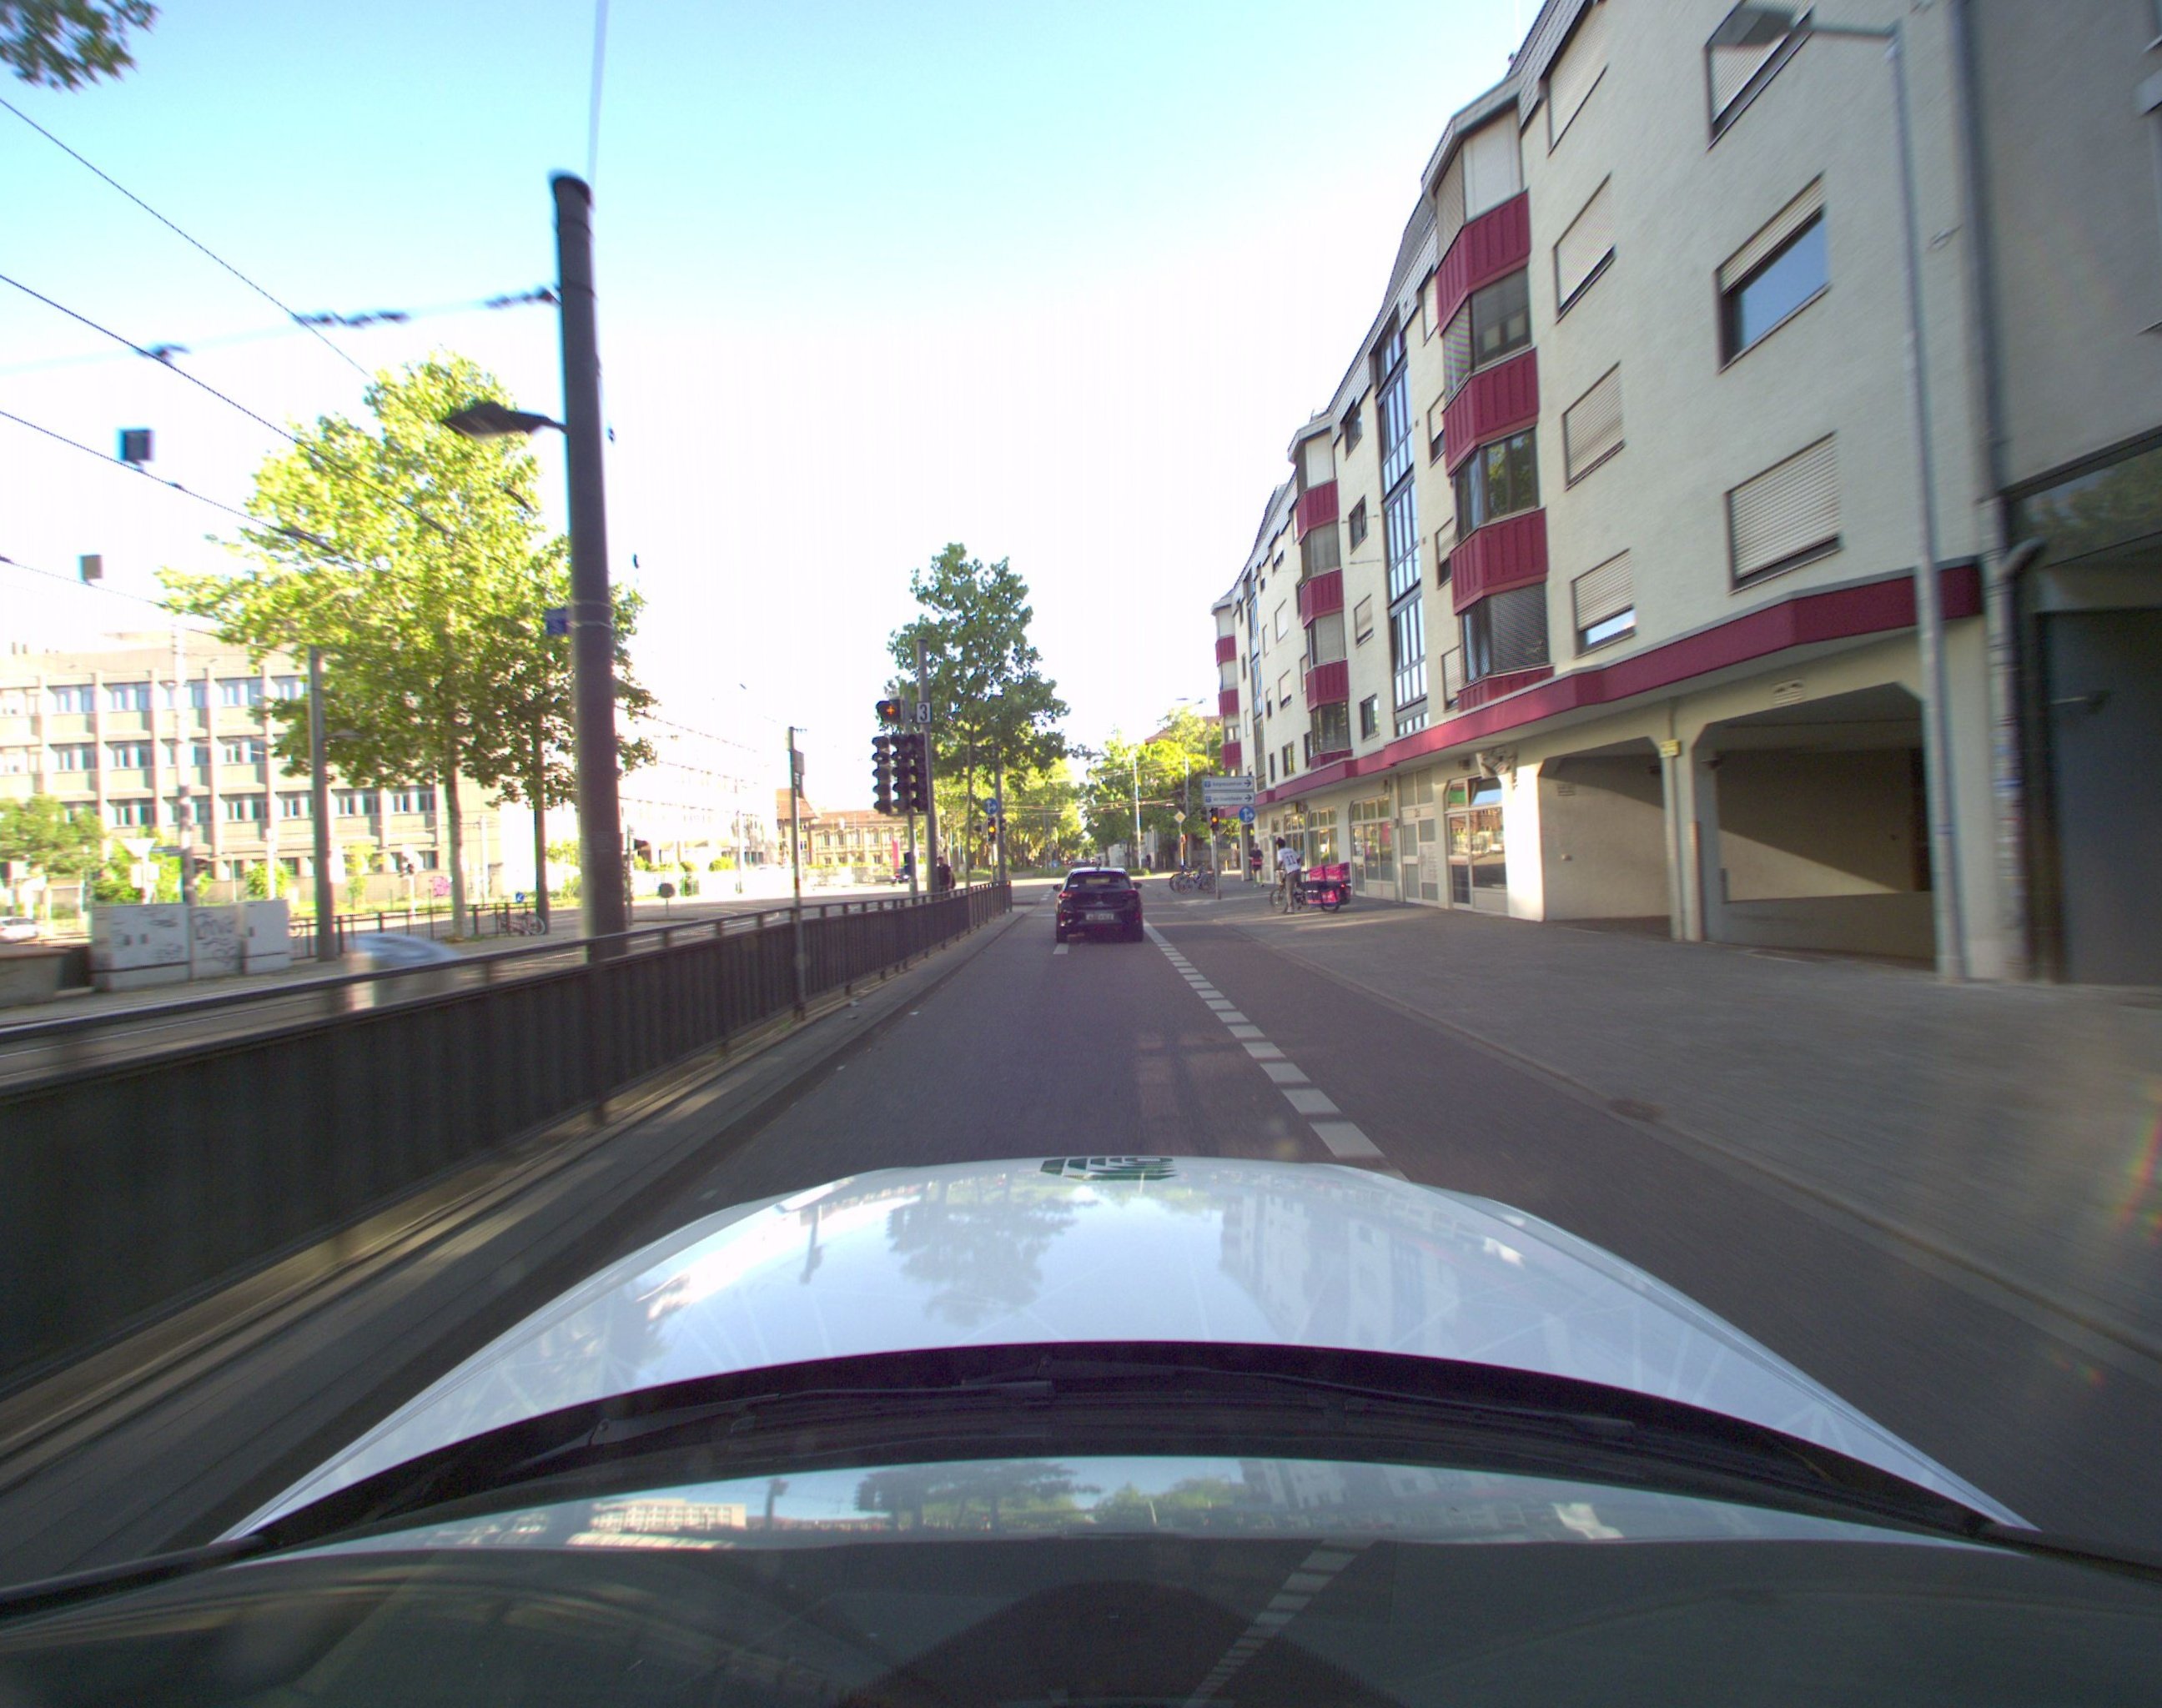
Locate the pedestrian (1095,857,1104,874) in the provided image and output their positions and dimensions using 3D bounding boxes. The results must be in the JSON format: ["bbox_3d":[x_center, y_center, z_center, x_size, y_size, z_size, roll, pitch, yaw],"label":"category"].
[{"bbox_3d":[2.340,1.410,102.358,1.033,2.024,1.212,-2,-1,-1],"label":"pedestrian"}]

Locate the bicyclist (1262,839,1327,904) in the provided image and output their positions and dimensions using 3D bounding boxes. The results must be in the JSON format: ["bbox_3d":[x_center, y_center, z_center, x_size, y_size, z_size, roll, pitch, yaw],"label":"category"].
[{"bbox_3d":[5.338,0.442,20.412,1.065,1.540,1.067,-2,-1,-37],"label":"bicyclist"}]

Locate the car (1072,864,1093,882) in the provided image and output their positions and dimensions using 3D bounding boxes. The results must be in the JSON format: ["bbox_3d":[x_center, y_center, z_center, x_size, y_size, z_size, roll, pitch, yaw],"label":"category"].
[{"bbox_3d":[0.160,1.779,78.468,1.826,1.623,4.286,-2,0,2],"label":"car"}]

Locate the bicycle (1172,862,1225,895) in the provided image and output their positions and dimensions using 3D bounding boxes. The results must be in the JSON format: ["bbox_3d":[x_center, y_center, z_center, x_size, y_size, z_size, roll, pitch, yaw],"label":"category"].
[{"bbox_3d":[4.586,0.953,31.866,1.935,1.170,0.572,-3,-1,-3],"label":"bicycle"}]

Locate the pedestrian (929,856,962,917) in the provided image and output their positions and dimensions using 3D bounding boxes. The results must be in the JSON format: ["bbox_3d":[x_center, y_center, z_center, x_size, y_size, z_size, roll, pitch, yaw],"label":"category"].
[{"bbox_3d":[-4.046,0.964,24.351,0.730,1.746,0.713,-2,0,5],"label":"pedestrian"}]

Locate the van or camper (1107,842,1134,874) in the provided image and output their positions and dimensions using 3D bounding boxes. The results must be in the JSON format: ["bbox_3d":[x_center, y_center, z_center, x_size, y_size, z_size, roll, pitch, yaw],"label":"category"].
[{"bbox_3d":[4.255,0.480,89.063,2.368,3.125,7.548,-6,-1,0],"label":"van or camper"}]

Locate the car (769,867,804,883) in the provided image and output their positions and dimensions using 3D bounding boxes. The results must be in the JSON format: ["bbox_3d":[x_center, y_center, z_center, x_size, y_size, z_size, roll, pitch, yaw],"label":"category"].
[{"bbox_3d":[-33.994,2.409,94.060,1.984,1.703,4.384,-3,0,5],"label":"car"}]

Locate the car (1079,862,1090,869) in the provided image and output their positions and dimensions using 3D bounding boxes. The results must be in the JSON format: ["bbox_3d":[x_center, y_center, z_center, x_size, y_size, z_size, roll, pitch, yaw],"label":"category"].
[{"bbox_3d":[0.730,2.329,164.886,1.898,1.425,4.217,-3,0,2],"label":"car"}]

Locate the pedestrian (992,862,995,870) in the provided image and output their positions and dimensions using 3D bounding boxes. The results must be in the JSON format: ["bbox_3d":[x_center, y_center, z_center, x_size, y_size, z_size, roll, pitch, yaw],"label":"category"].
[{"bbox_3d":[-18.946,2.587,176.831,0.616,1.733,0.596,-1,-1,-1],"label":"pedestrian"}]

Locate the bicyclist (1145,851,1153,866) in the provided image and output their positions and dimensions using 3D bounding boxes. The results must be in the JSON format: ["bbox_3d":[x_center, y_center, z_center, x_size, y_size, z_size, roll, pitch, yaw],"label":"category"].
[{"bbox_3d":[7.182,0.454,86.380,0.746,1.510,0.702,-3,-1,1],"label":"bicyclist"}]

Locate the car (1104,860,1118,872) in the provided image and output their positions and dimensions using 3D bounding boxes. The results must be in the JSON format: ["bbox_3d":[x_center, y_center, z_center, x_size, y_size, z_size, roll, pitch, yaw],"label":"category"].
[{"bbox_3d":[4.276,1.731,116.056,1.784,1.510,3.874,-4,-1,1],"label":"car"}]

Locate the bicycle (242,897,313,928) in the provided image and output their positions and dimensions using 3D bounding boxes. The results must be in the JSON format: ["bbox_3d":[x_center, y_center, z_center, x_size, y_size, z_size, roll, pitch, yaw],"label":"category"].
[{"bbox_3d":[-33.654,2.442,34.124,2.040,1.189,0.587,-2,-1,-17],"label":"bicycle"}]

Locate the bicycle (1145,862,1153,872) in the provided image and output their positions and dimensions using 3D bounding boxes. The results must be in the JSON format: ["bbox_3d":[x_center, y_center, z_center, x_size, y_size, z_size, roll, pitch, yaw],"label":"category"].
[{"bbox_3d":[7.221,1.355,86.409,0.637,1.070,1.950,-3,-1,0],"label":"bicycle"}]

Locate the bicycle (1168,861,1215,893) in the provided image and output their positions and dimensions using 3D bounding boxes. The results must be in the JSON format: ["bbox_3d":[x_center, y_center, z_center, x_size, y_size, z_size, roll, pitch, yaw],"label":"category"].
[{"bbox_3d":[4.530,0.949,33.373,1.823,1.221,0.496,-3,-1,4],"label":"bicycle"}]

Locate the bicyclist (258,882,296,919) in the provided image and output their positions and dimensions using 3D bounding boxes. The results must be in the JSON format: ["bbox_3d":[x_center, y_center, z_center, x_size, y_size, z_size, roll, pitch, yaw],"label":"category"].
[{"bbox_3d":[-33.683,1.931,34.123,0.881,1.494,0.719,-2,-1,-16],"label":"bicyclist"}]

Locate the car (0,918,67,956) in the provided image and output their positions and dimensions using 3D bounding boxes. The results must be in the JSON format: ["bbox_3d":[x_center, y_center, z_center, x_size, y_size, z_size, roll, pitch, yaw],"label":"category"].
[{"bbox_3d":[-54.479,4.240,40.970,3.953,1.697,2.104,-3,-1,-7],"label":"car"}]

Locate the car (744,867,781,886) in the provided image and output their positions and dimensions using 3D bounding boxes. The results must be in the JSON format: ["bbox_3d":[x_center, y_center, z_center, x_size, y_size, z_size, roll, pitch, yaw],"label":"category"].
[{"bbox_3d":[-36.847,2.602,94.370,1.984,2.013,4.732,-3,0,5],"label":"car"}]

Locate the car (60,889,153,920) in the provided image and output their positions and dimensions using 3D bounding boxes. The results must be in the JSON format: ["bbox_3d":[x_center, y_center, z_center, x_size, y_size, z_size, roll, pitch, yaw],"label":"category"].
[{"bbox_3d":[-72.243,3.709,60.470,1.987,2.013,4.000,-3,0,0],"label":"car"}]

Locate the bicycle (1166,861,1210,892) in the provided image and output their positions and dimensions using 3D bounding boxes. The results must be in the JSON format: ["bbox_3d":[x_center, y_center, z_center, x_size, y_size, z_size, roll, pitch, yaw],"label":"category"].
[{"bbox_3d":[4.537,0.964,34.691,1.793,1.199,0.546,-3,-2,5],"label":"bicycle"}]

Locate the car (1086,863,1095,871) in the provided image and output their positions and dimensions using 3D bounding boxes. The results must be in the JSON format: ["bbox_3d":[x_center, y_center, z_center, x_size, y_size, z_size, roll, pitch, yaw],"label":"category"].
[{"bbox_3d":[2.105,2.835,176.922,1.898,1.425,4.217,-3,0,2],"label":"car"}]

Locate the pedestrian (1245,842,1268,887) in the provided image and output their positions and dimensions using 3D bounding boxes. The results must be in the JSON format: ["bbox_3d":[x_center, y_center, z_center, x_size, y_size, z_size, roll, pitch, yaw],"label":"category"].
[{"bbox_3d":[7.393,0.439,34.279,0.720,1.858,0.801,-3,-1,0],"label":"pedestrian"}]

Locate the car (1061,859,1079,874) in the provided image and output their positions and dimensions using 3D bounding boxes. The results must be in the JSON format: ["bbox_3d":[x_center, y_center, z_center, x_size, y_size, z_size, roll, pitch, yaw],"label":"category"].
[{"bbox_3d":[-1.257,1.433,93.076,1.987,1.627,4.469,-1,-1,0],"label":"car"}]

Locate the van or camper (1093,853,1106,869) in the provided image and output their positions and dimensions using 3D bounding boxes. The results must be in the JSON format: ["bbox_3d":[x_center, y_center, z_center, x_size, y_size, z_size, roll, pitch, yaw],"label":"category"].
[{"bbox_3d":[3.674,1.440,162.611,2.477,2.994,5.435,-1,-1,2],"label":"van or camper"}]

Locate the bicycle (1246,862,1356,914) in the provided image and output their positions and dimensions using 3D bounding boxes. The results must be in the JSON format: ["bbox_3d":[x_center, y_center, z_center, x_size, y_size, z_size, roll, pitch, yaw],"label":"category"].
[{"bbox_3d":[5.431,0.843,20.319,0.968,1.183,2.569,-2,-1,-36],"label":"bicycle"}]

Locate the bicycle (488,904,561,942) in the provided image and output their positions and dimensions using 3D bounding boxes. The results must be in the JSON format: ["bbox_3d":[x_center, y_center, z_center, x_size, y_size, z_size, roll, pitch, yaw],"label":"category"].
[{"bbox_3d":[-16.282,1.997,23.881,0.808,0.946,1.729,-3,0,7],"label":"bicycle"}]

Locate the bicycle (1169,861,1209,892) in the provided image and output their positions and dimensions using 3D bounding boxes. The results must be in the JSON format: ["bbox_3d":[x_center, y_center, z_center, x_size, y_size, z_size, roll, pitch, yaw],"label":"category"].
[{"bbox_3d":[4.492,0.950,33.944,1.615,1.199,0.497,-3,-1,5],"label":"bicycle"}]

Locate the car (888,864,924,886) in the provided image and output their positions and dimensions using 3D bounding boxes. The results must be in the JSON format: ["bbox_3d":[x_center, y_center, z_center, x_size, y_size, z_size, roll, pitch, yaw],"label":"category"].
[{"bbox_3d":[-16.858,1.977,78.714,1.983,1.947,4.433,-3,0,7],"label":"car"}]

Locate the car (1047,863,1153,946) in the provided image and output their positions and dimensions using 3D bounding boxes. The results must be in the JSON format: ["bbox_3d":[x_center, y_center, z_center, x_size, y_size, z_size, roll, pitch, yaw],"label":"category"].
[{"bbox_3d":[0.418,0.950,17.117,1.898,1.425,4.217,-3,0,2],"label":"car"}]

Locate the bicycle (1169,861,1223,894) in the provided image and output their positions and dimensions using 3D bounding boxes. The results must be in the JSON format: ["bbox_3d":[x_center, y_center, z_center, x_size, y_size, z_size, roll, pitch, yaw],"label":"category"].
[{"bbox_3d":[4.582,0.929,32.490,1.973,1.199,0.590,-3,-1,-4],"label":"bicycle"}]
